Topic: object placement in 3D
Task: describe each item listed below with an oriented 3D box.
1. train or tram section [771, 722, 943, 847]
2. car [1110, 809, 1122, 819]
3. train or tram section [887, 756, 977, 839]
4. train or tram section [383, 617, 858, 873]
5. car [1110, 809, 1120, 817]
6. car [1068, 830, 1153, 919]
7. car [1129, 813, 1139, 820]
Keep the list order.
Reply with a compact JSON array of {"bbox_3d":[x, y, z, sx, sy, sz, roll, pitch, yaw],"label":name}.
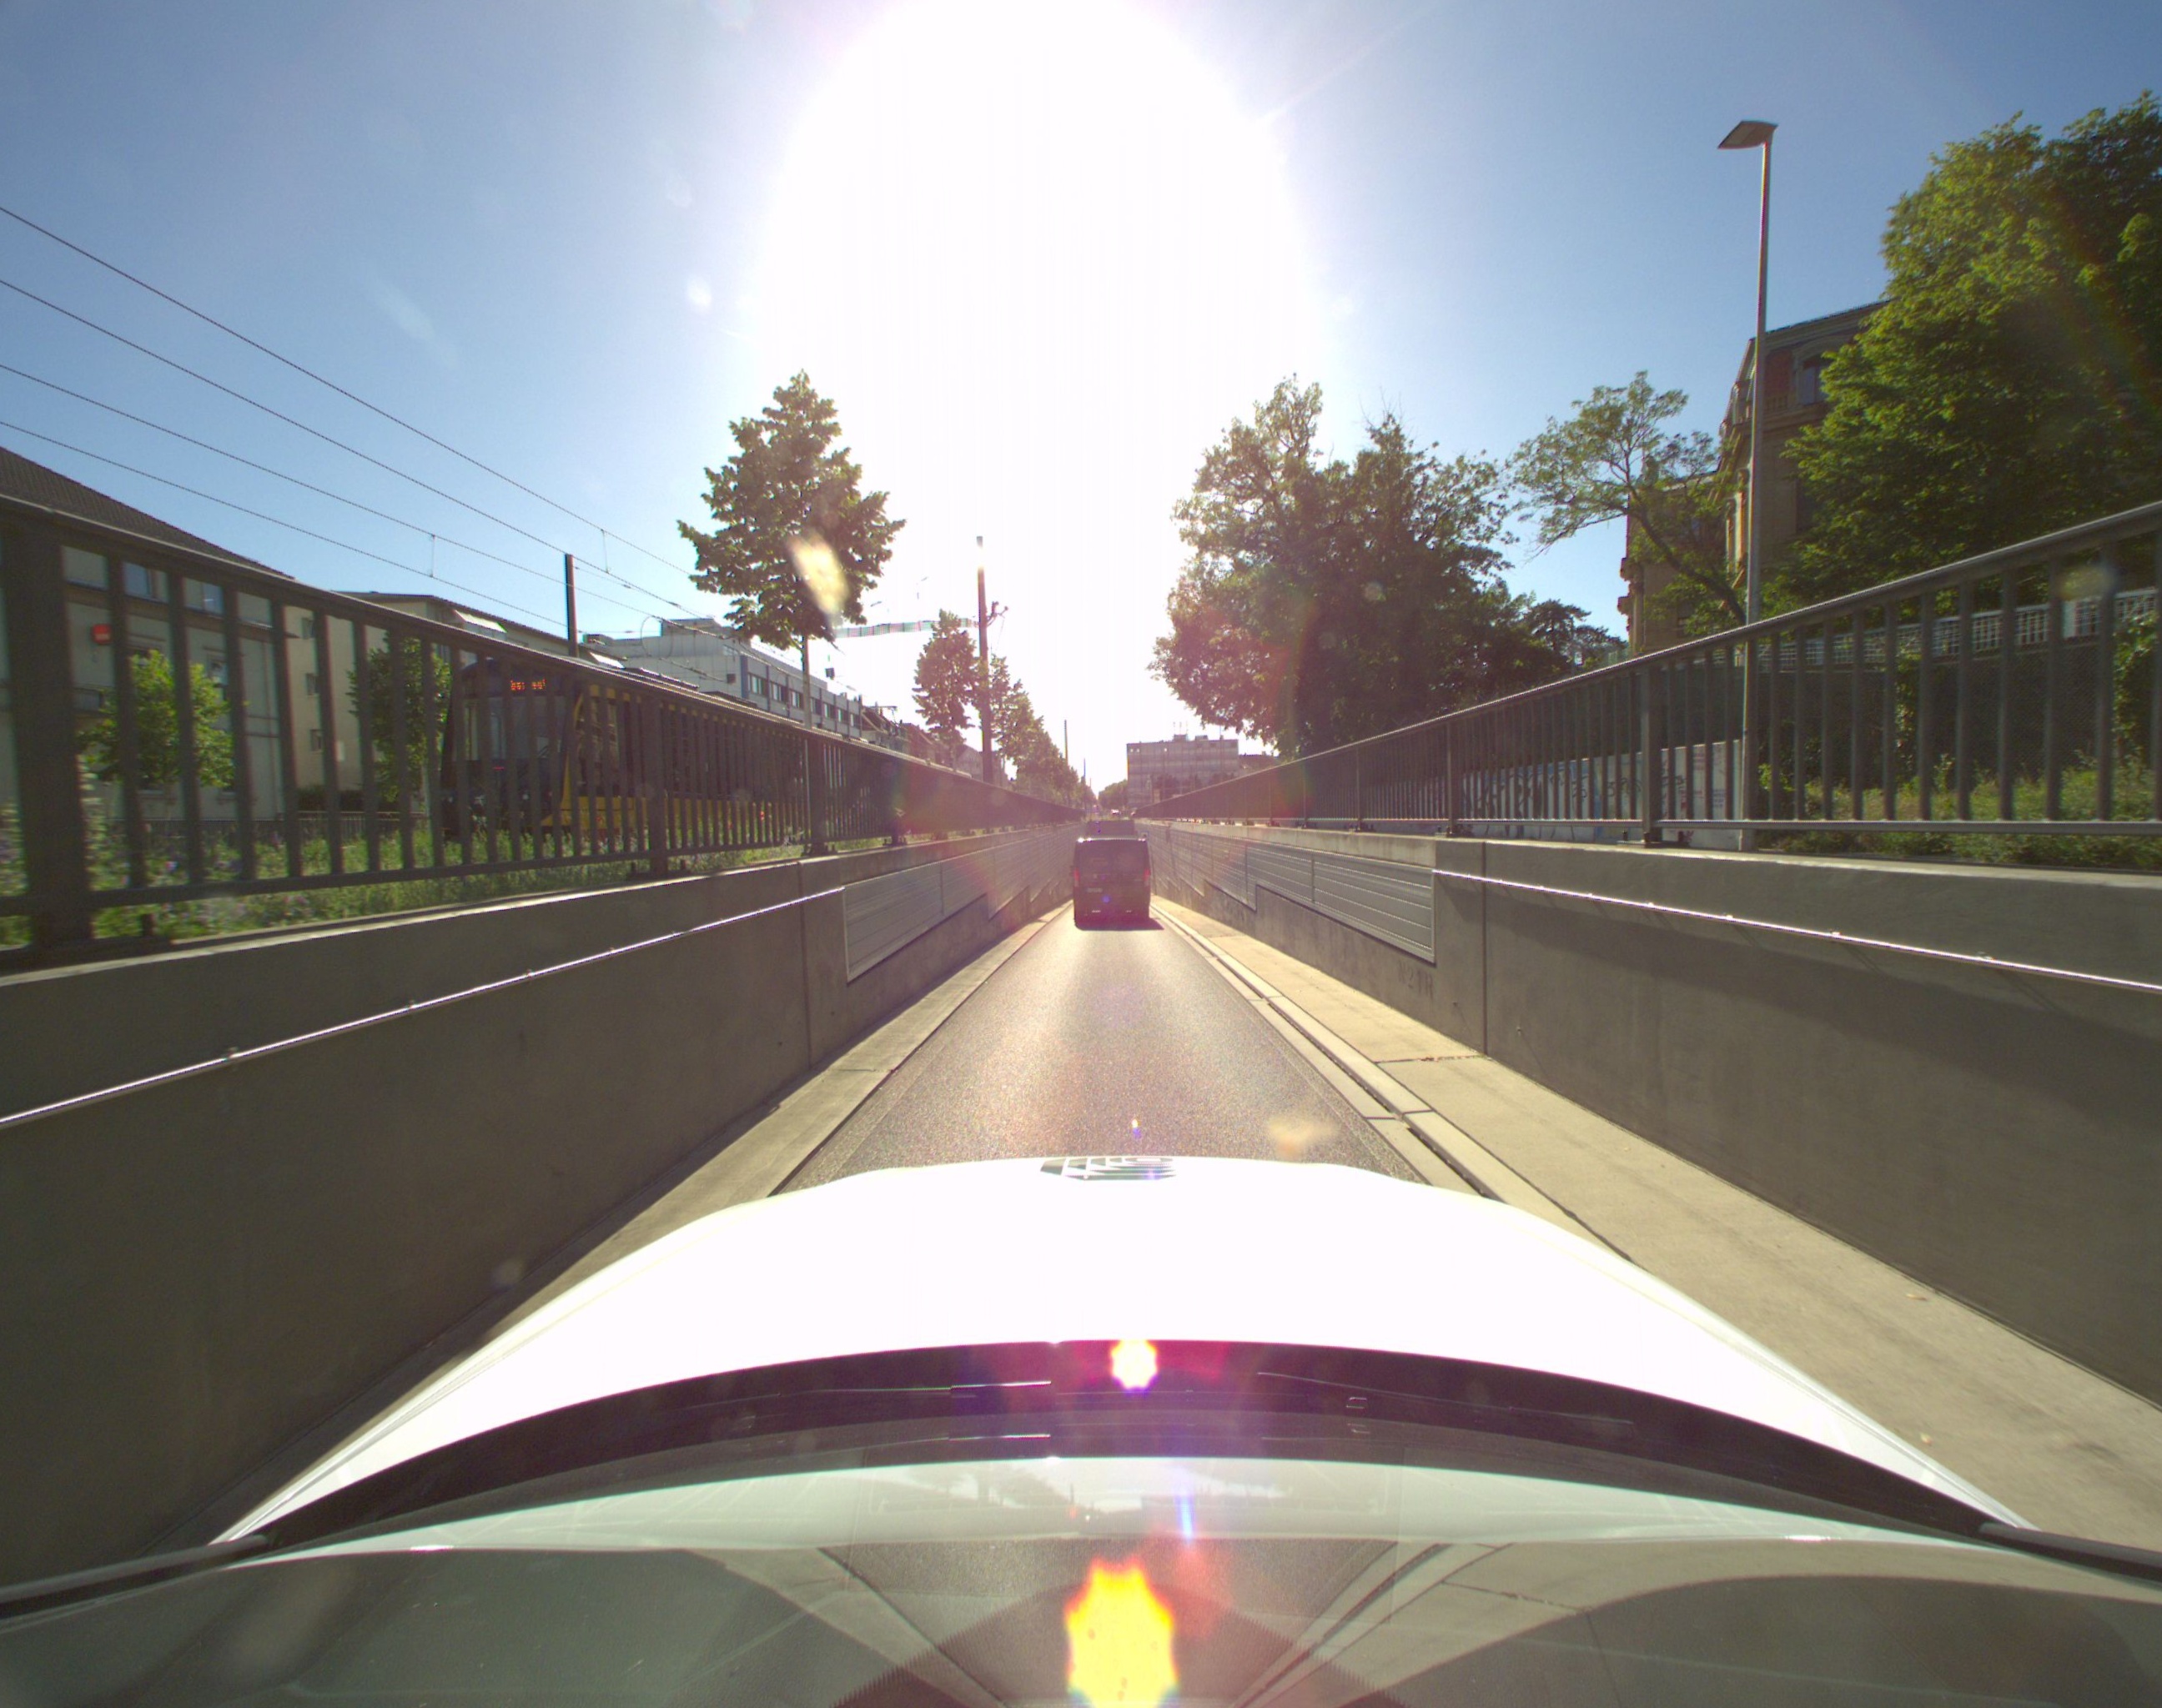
[{"bbox_3d":[-7.984,-2.367,31.568,2.601,3.820,13.099,0,2,2],"label":"train or tram section"},{"bbox_3d":[5.531,-6.295,128.721,1.734,1.561,4.001,-2,2,1],"label":"car"},{"bbox_3d":[-7.629,-2.817,43.108,2.602,3.853,9.977,0,2,2],"label":"train or tram section"},{"bbox_3d":[-8.453,-1.793,18.387,2.600,3.655,13.352,0,2,2],"label":"train or tram section"},{"bbox_3d":[6.456,-7.893,156.568,1.734,1.561,4.001,-2,2,1],"label":"car"},{"bbox_3d":[0.867,0.593,23.176,2.150,2.266,4.639,-1,-2,3],"label":"car"},{"bbox_3d":[10.590,-7.509,163.134,1.734,1.421,4.001,-2,2,1],"label":"car"}]
